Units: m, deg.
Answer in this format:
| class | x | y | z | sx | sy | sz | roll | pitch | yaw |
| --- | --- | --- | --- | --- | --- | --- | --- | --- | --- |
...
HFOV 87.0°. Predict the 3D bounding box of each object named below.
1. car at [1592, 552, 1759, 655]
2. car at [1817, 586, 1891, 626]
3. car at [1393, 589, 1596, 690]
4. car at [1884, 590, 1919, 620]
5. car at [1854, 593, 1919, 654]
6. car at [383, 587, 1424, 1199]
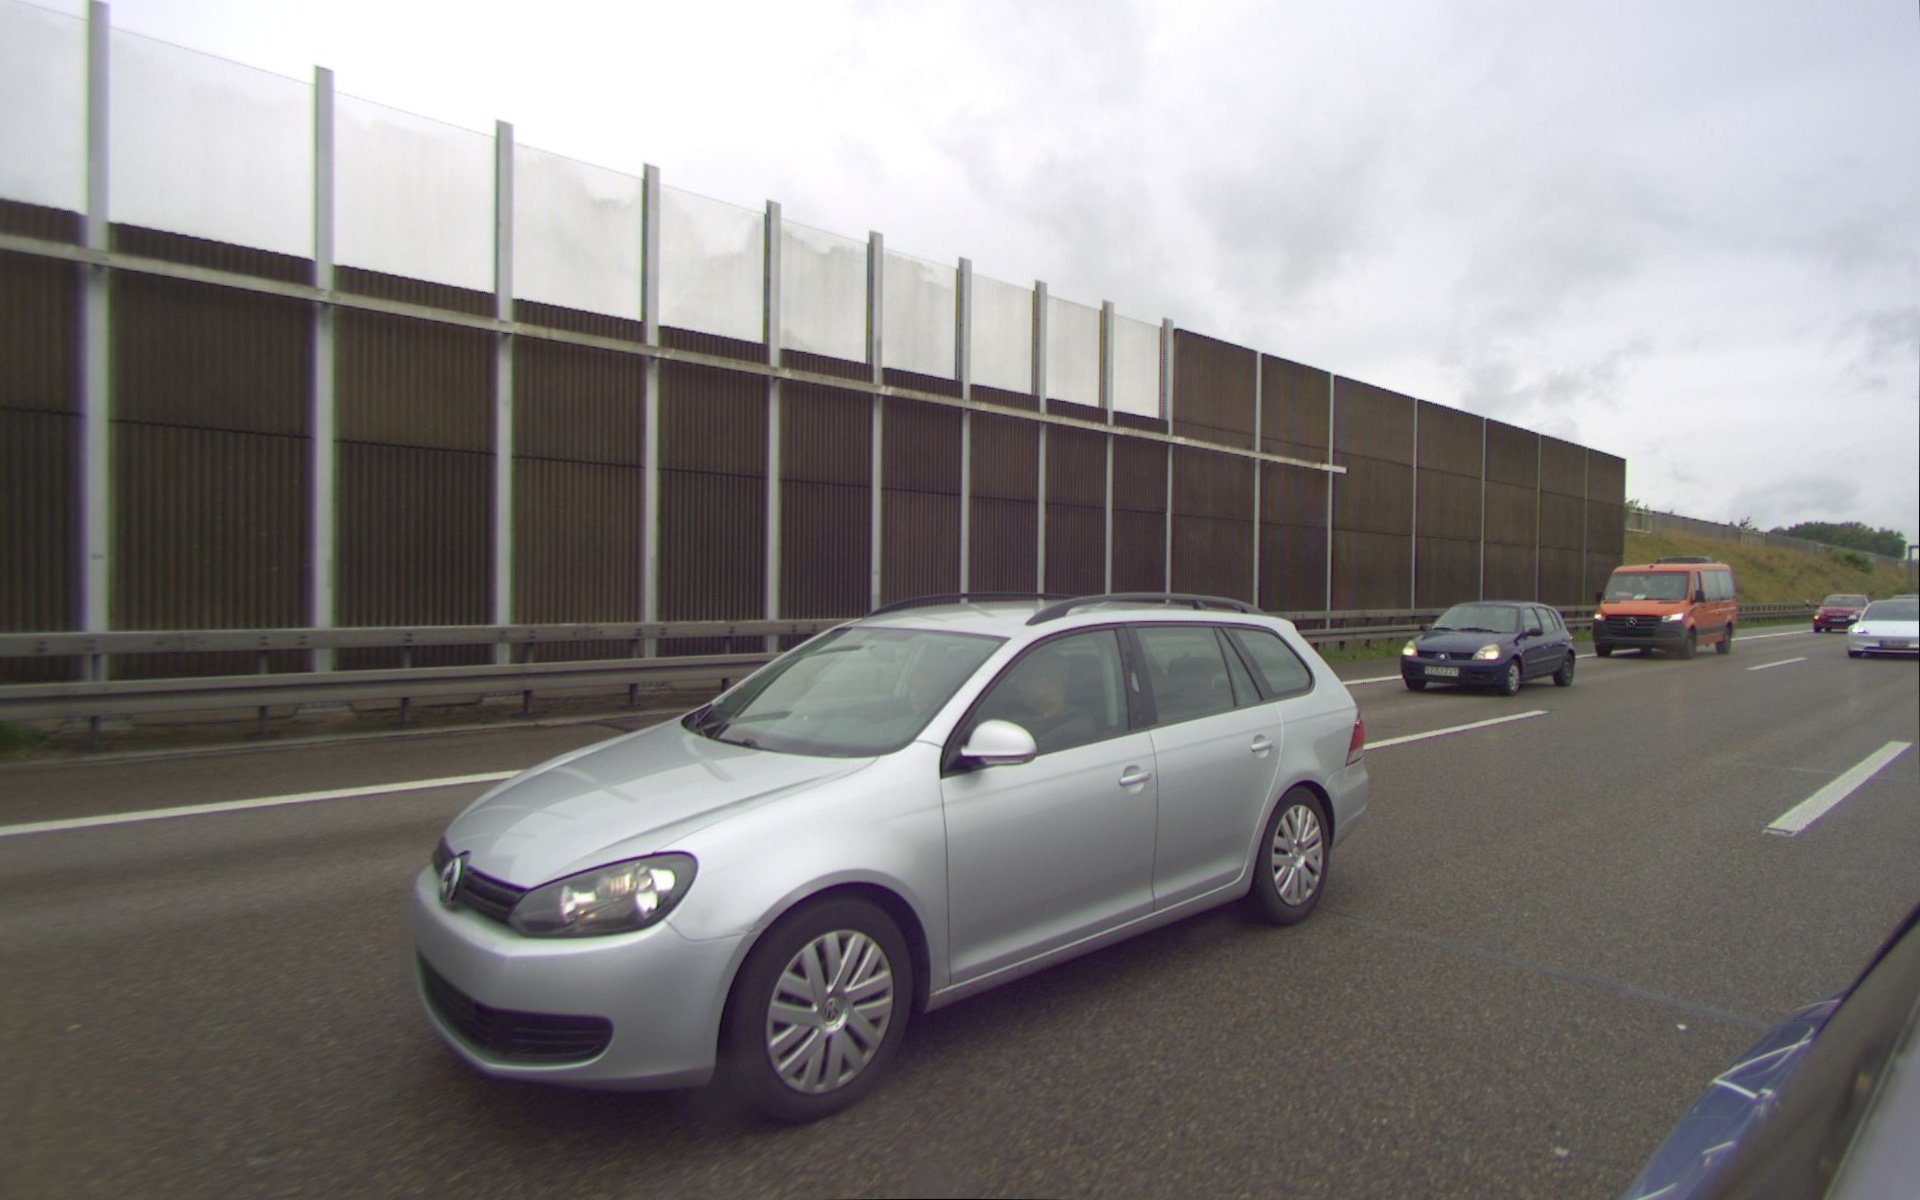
| class | x | y | z | sx | sy | sz | roll | pitch | yaw |
| --- | --- | --- | --- | --- | --- | --- | --- | --- | --- |
| car | 18.354 | 0.047 | 25.818 | 6.073 | 2.344 | 2.089 | 0 | 0 | -41 |
| car | 37.799 | 0.231 | 42.771 | 3.932 | 1.555 | 1.876 | -1 | 0 | -42 |
| car | 8.740 | 0.565 | 16.431 | 3.809 | 1.419 | 1.704 | -1 | 0 | -42 |
| car | 51.136 | 0.265 | 54.272 | 4.409 | 1.508 | 1.926 | -1 | 0 | -42 |
| car | 23.987 | 0.542 | 25.292 | 4.730 | 1.380 | 1.876 | -1 | 0 | -42 |
| car | 0.164 | 0.671 | 4.426 | 4.438 | 1.443 | 1.745 | -1 | 1 | -41 |
